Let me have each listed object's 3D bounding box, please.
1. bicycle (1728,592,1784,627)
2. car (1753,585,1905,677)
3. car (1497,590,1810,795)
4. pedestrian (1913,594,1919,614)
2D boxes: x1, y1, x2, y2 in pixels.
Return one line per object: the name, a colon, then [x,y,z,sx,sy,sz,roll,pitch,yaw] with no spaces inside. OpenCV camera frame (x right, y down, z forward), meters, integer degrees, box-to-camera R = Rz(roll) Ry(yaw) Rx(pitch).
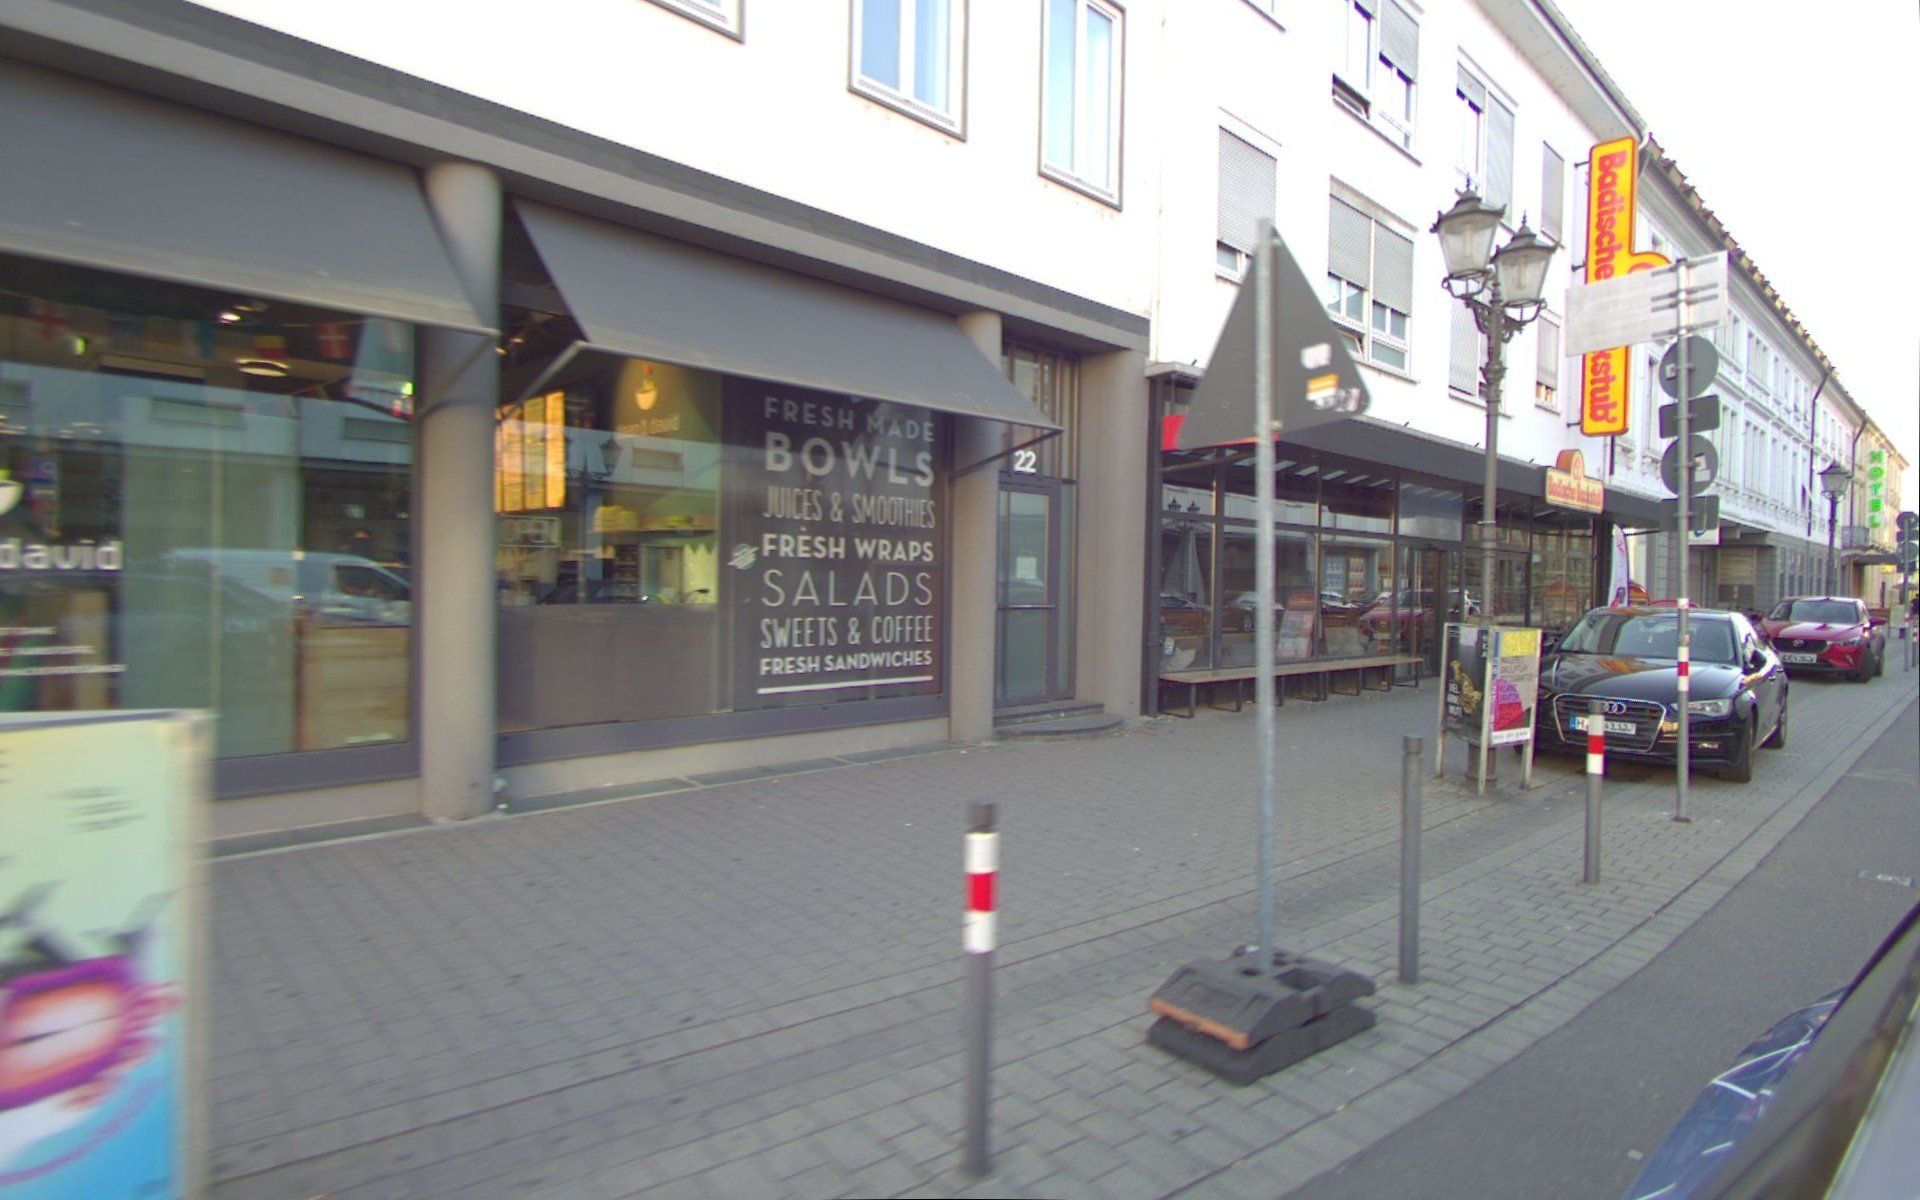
bicycle: [30.430,0.343,38.703,0.432,1.268,1.658,0,1,-45]
car: [16.739,0.521,19.442,3.615,1.542,1.762,0,2,-43]
car: [6.773,0.676,9.706,1.802,1.482,4.052,3,2,44]
pedestrian: [65.258,0.274,68.640,0.771,1.376,0.716,1,1,31]
